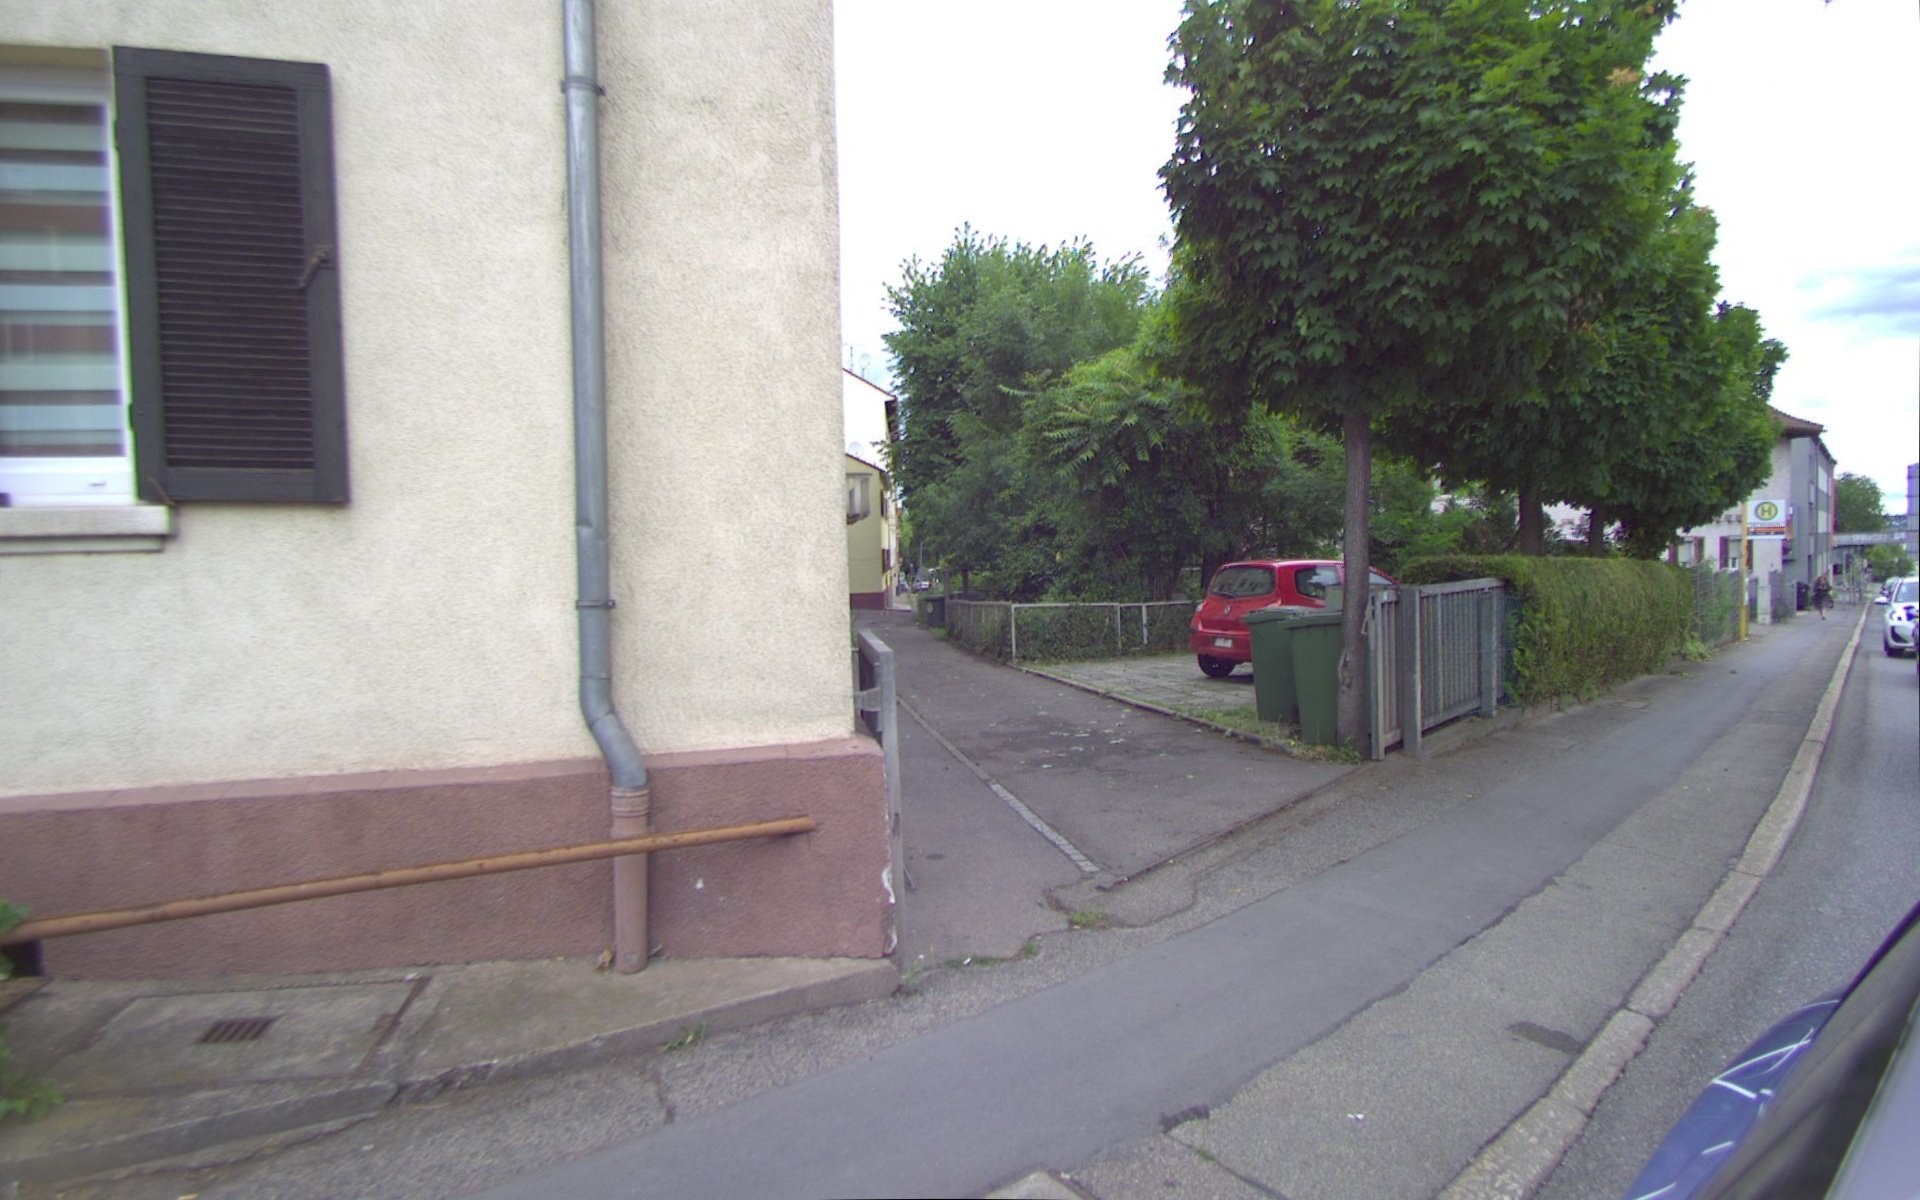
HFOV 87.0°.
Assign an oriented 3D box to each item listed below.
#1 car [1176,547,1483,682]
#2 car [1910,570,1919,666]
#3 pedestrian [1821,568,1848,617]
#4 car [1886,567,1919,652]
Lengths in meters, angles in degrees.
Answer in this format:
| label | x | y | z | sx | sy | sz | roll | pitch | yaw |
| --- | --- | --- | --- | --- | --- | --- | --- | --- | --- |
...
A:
| label | x | y | z | sx | sy | sz | roll | pitch | yaw |
| --- | --- | --- | --- | --- | --- | --- | --- | --- | --- |
| car | 4.653 | 0.122 | 12.798 | 3.368 | 1.478 | 1.705 | -2 | 1 | -23 |
| car | 15.511 | 0.263 | 14.934 | 1.891 | 1.529 | 4.106 | -3 | -2 | 40 |
| pedestrian | 33.289 | -0.293 | 38.511 | 0.581 | 1.863 | 0.648 | -1 | 1 | -33 |
| car | 20.528 | 0.150 | 20.901 | 1.892 | 1.665 | 3.943 | 0 | 1 | 40 |
